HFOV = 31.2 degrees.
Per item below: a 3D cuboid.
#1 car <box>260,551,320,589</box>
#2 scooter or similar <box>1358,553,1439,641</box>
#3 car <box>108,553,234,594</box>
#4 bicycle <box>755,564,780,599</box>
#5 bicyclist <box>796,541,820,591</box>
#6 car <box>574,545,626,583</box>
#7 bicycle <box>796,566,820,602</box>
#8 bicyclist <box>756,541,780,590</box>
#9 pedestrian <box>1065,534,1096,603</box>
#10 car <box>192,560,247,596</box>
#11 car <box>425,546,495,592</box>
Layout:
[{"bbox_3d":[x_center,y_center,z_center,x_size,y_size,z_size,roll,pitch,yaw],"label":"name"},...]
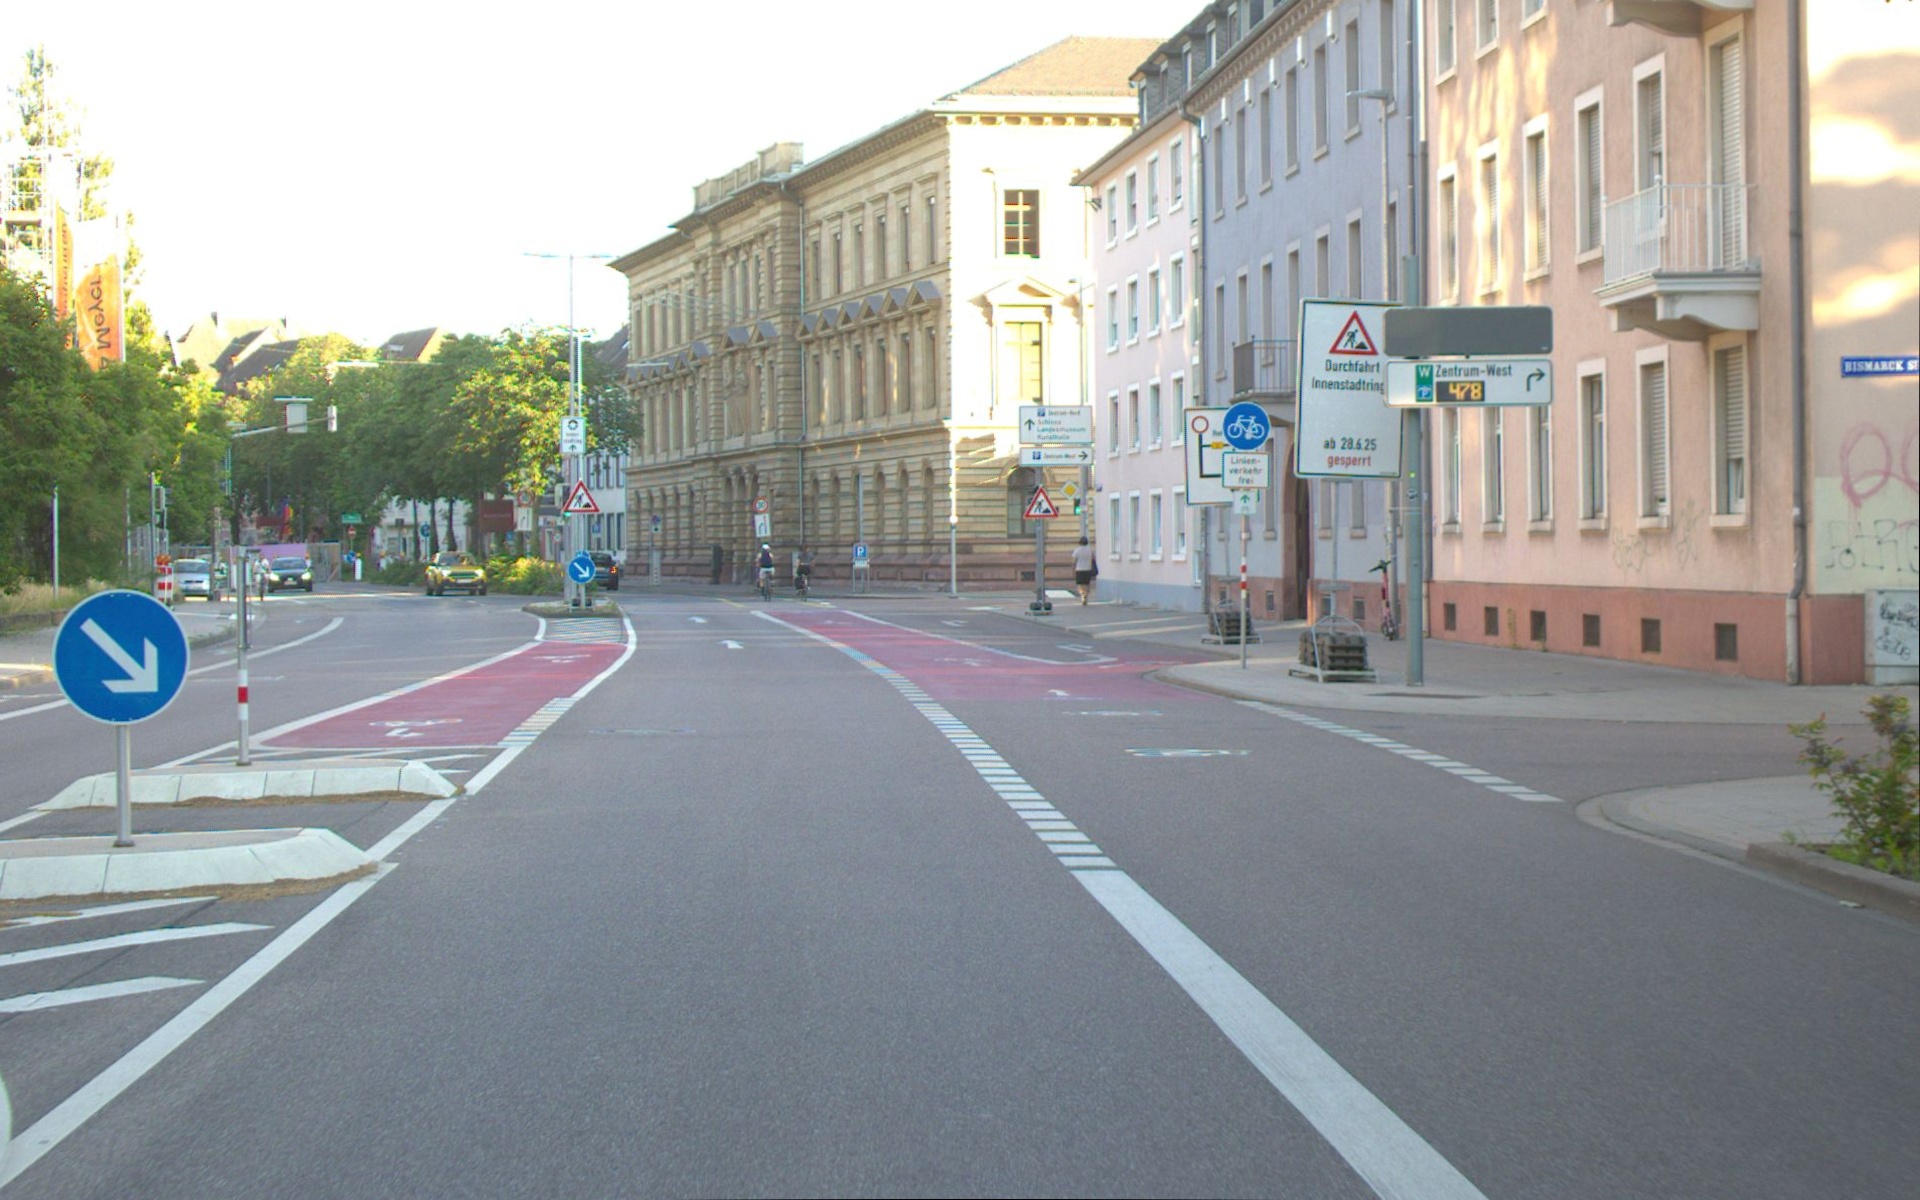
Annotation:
[{"bbox_3d":[-28.206,-1.277,144.734,1.993,1.579,4.001,0,1,-18],"label":"car"},{"bbox_3d":[6.796,-0.058,53.393,0.629,1.332,2.401,0,1,-8],"label":"scooter or similar"},{"bbox_3d":[-27.524,-0.935,119.902,3.993,1.415,1.997,1,1,29],"label":"car"},{"bbox_3d":[-5.737,-0.554,102.432,0.652,1.012,2.198,2,1,-2],"label":"bicycle"},{"bbox_3d":[-4.519,-1.013,102.476,0.652,1.470,0.941,2,1,-2],"label":"bicyclist"},{"bbox_3d":[-14.549,-1.455,138.699,1.867,1.504,4.001,1,1,-9],"label":"car"},{"bbox_3d":[-4.532,-0.486,102.481,0.652,1.012,2.198,2,1,-2],"label":"bicycle"},{"bbox_3d":[-5.721,-1.043,102.614,0.652,1.441,0.879,2,1,-2],"label":"bicyclist"},{"bbox_3d":[3.082,-0.807,87.670,0.762,1.749,0.845,0,1,3],"label":"pedestrian"},{"bbox_3d":[-33.240,-1.002,154.233,1.993,1.579,4.001,0,1,-18],"label":"car"},{"bbox_3d":[-17.743,-1.107,121.847,1.993,1.579,4.001,0,1,-15],"label":"car"}]
